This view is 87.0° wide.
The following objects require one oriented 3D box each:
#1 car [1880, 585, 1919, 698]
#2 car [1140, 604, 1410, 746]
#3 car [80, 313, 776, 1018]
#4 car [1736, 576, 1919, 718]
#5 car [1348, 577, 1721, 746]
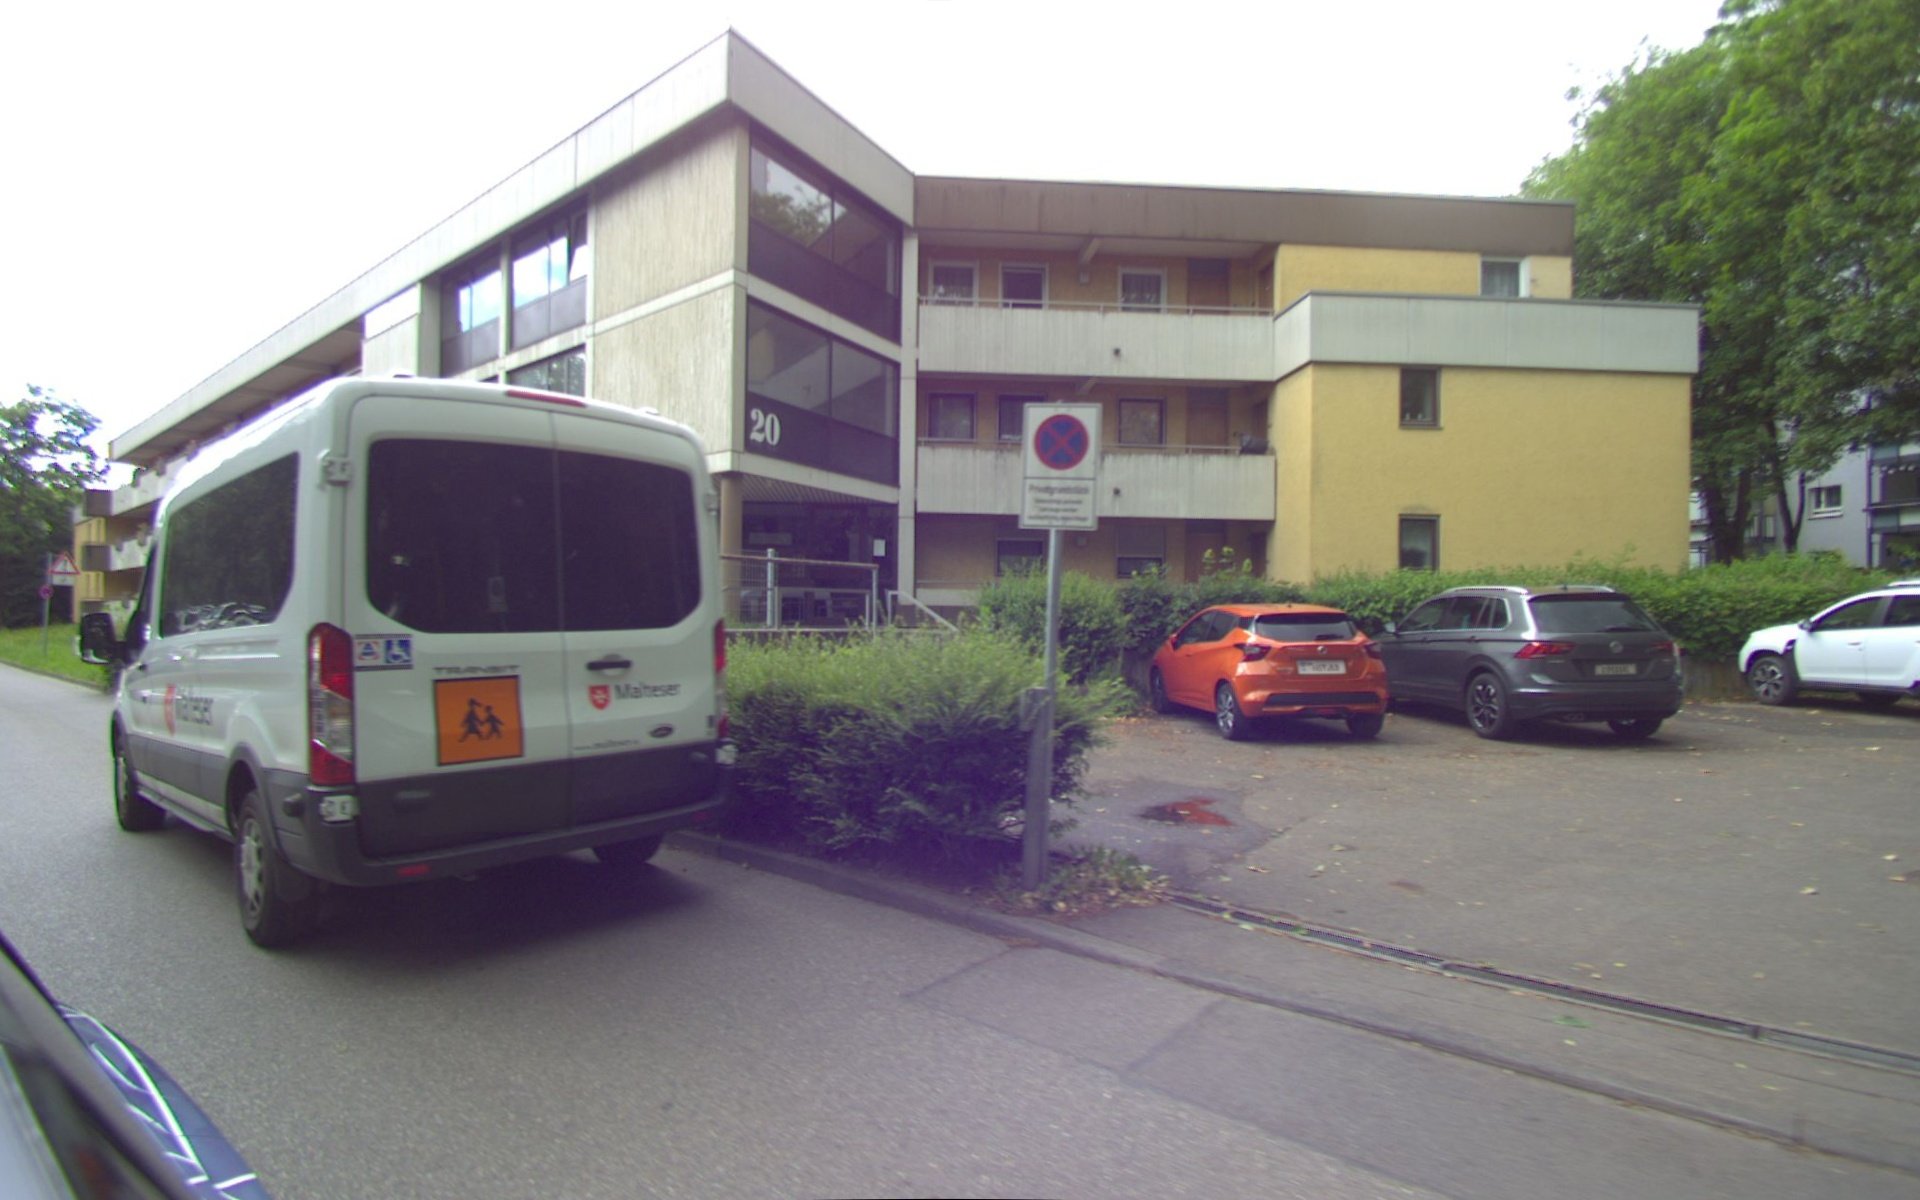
[{"bbox_3d":[14.681,0.573,13.104,1.724,1.623,4.003,0,-1,-3],"label":"car"},{"bbox_3d":[3.570,0.786,12.306,1.723,1.441,4.004,0,-1,-5],"label":"car"},{"bbox_3d":[-3.927,0.292,6.535,6.278,2.494,2.108,-2,-1,44],"label":"car"},{"bbox_3d":[12.106,0.561,12.437,1.780,1.661,4.118,0,-1,-3],"label":"car"},{"bbox_3d":[6.353,0.618,11.815,1.797,1.623,4.004,0,-1,-5],"label":"car"}]
